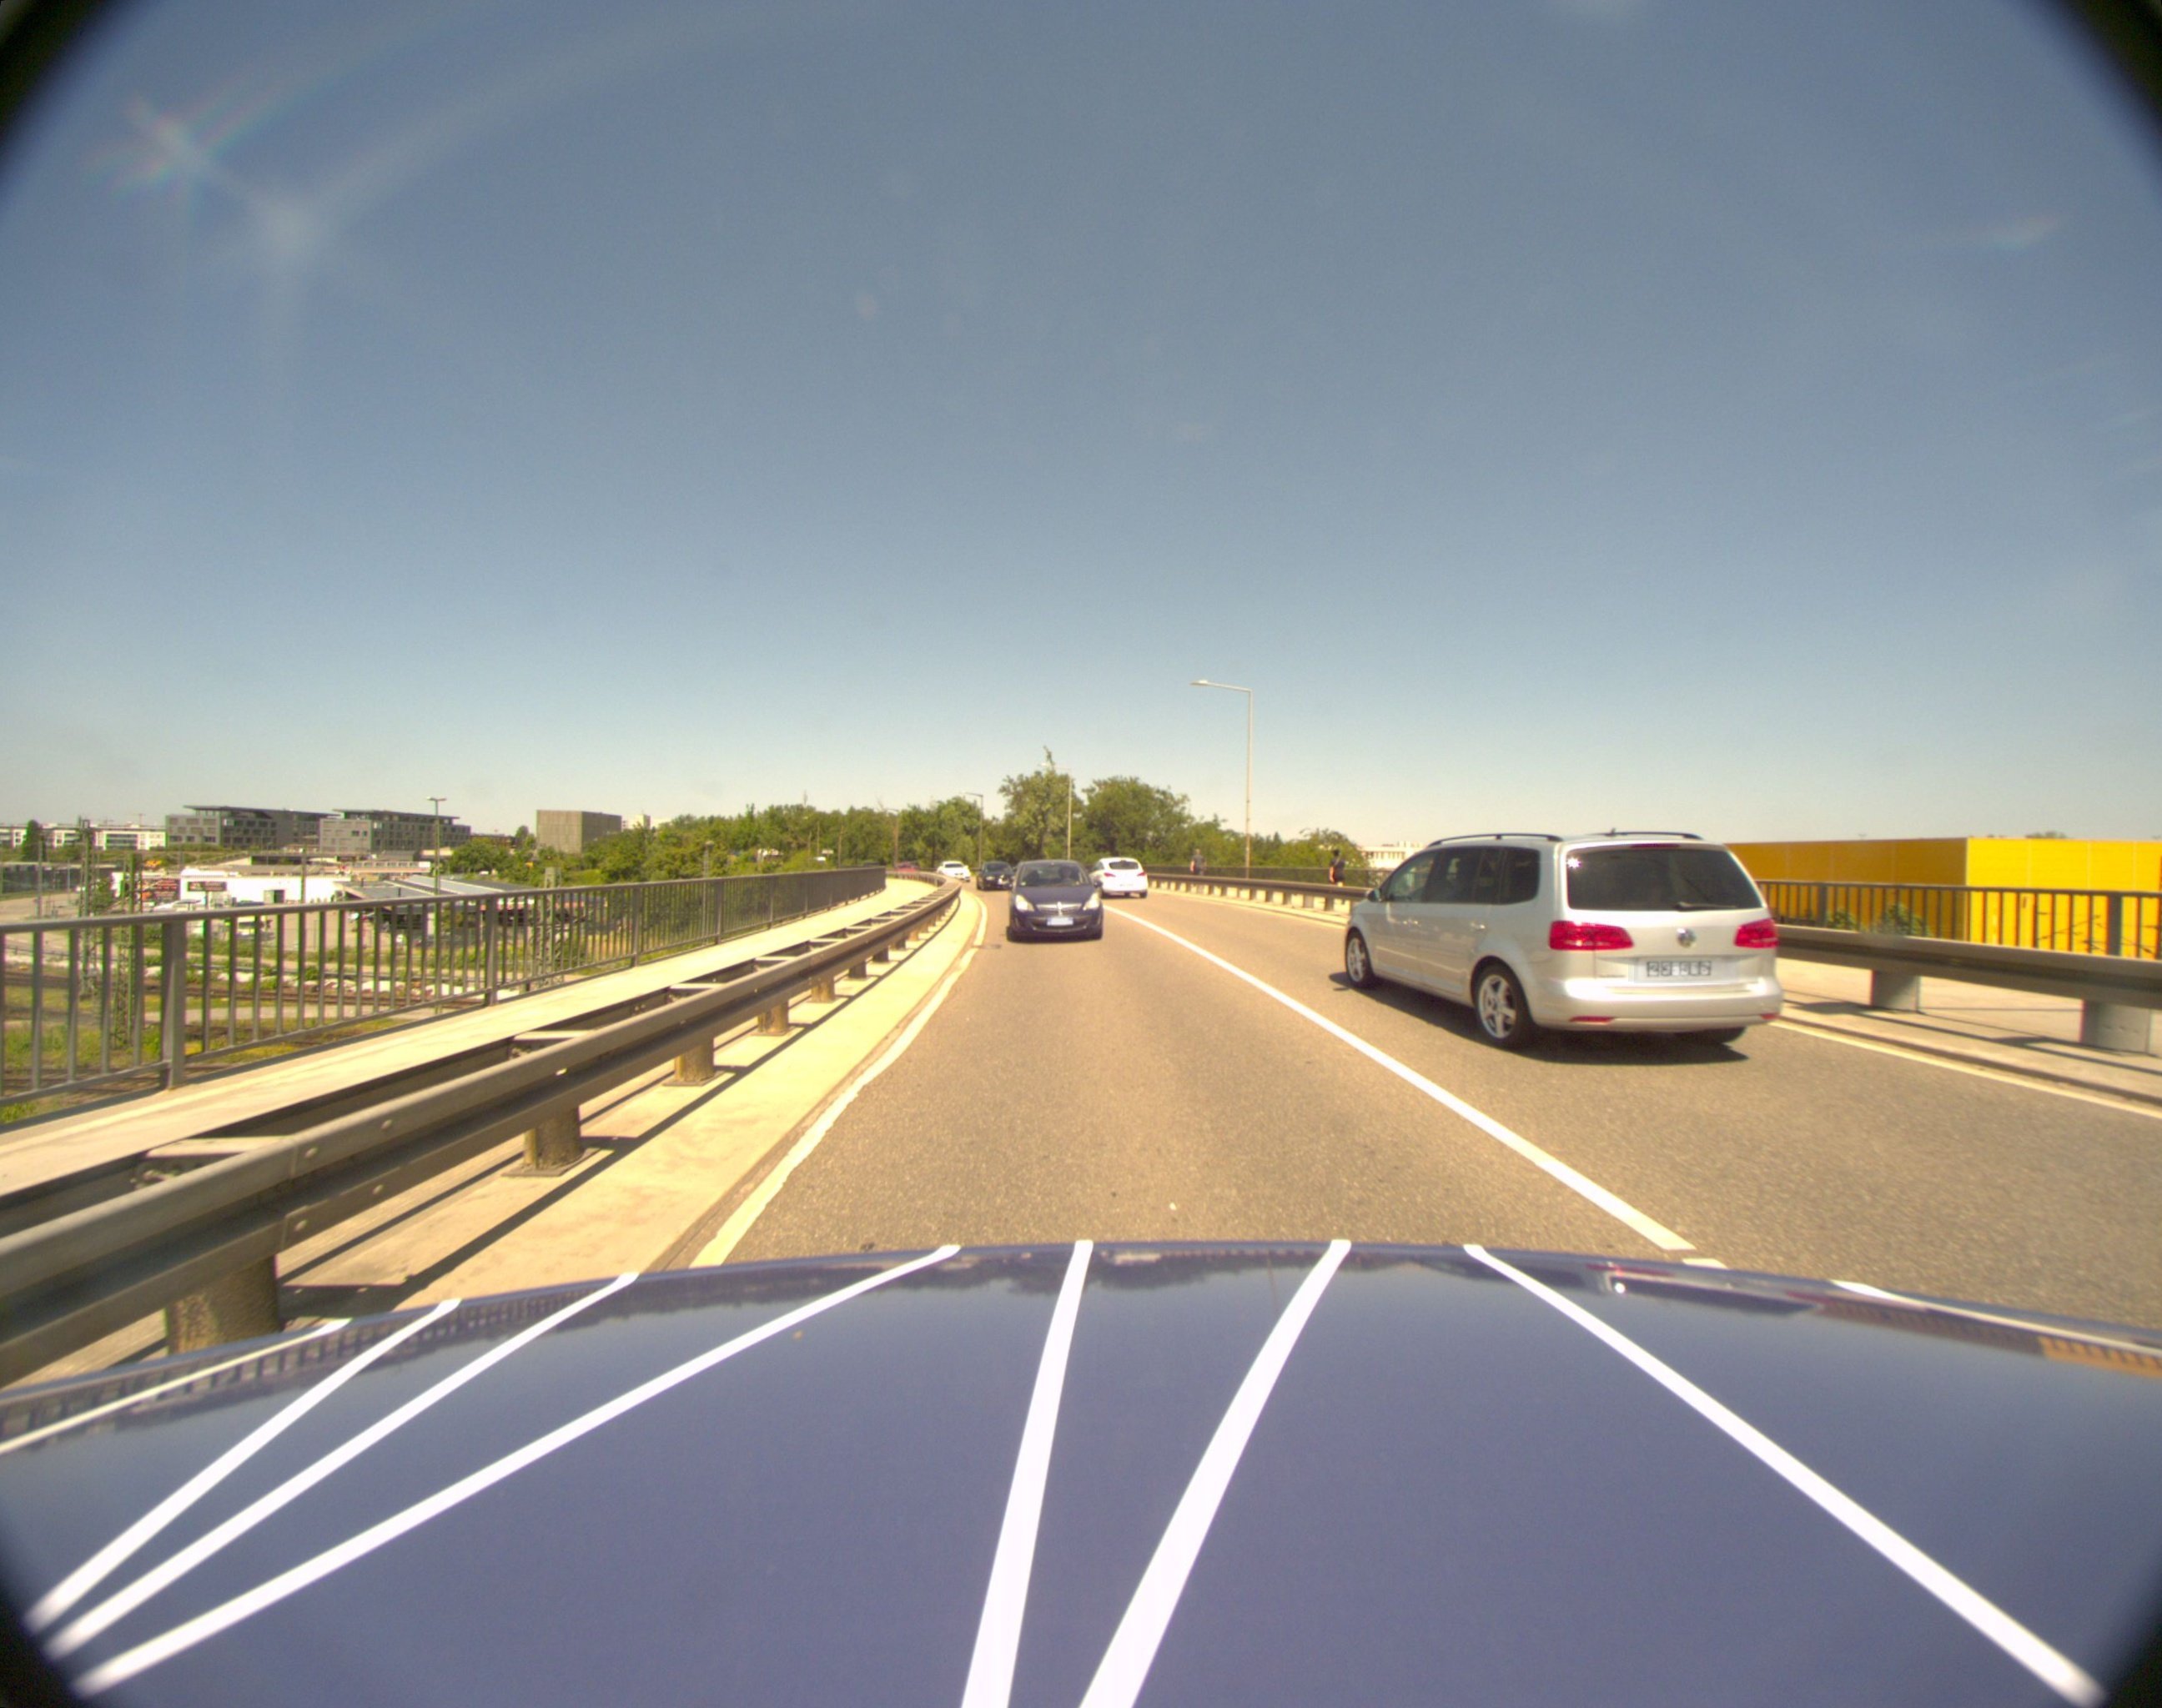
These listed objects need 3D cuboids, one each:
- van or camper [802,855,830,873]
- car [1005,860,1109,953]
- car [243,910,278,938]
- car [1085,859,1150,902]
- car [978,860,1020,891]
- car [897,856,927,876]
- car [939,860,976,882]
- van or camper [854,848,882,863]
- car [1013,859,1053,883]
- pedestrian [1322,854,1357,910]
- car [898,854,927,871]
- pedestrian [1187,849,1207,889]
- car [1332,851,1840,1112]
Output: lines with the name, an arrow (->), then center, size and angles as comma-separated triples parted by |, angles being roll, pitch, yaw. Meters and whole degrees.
van or camper -> -38.039, 1.408, 109.023 | 2.059, 2.523, 5.867 | -1, 0, -38
car -> -0.584, 0.897, 14.884 | 1.699, 1.459, 4.381 | -2, 0, -5
car -> -82.954, 7.043, 76.826 | 4.915, 2.339, 2.156 | -2, 4, 43
car -> 1.314, 0.938, 28.622 | 1.731, 1.475, 3.862 | 0, 1, -8
car -> -4.152, 1.010, 37.868 | 1.571, 1.408, 4.117 | -2, 0, -13
car -> -15.513, 1.090, 69.567 | 1.904, 1.645, 4.249 | -1, 1, -23
car -> -8.504, 1.121, 52.057 | 1.819, 1.419, 3.709 | -2, 0, -20
van or camper -> -26.743, 0.145, 95.205 | 2.003, 1.750, 4.685 | -1, 1, -33
car -> -3.158, 1.066, 49.350 | 1.796, 1.407, 4.568 | 0, 1, -14
pedestrian -> 7.333, 0.781, 21.599 | 0.716, 1.552, 0.694 | 0, 1, -4
car -> -17.999, 0.908, 81.064 | 1.905, 1.645, 4.247 | -1, 1, -29
pedestrian -> 5.306, 0.680, 34.780 | 0.640, 1.772, 0.811 | -2, 1, -13
car -> 3.873, 0.790, 6.847 | 1.720, 1.605, 4.117 | -1, 1, -2
